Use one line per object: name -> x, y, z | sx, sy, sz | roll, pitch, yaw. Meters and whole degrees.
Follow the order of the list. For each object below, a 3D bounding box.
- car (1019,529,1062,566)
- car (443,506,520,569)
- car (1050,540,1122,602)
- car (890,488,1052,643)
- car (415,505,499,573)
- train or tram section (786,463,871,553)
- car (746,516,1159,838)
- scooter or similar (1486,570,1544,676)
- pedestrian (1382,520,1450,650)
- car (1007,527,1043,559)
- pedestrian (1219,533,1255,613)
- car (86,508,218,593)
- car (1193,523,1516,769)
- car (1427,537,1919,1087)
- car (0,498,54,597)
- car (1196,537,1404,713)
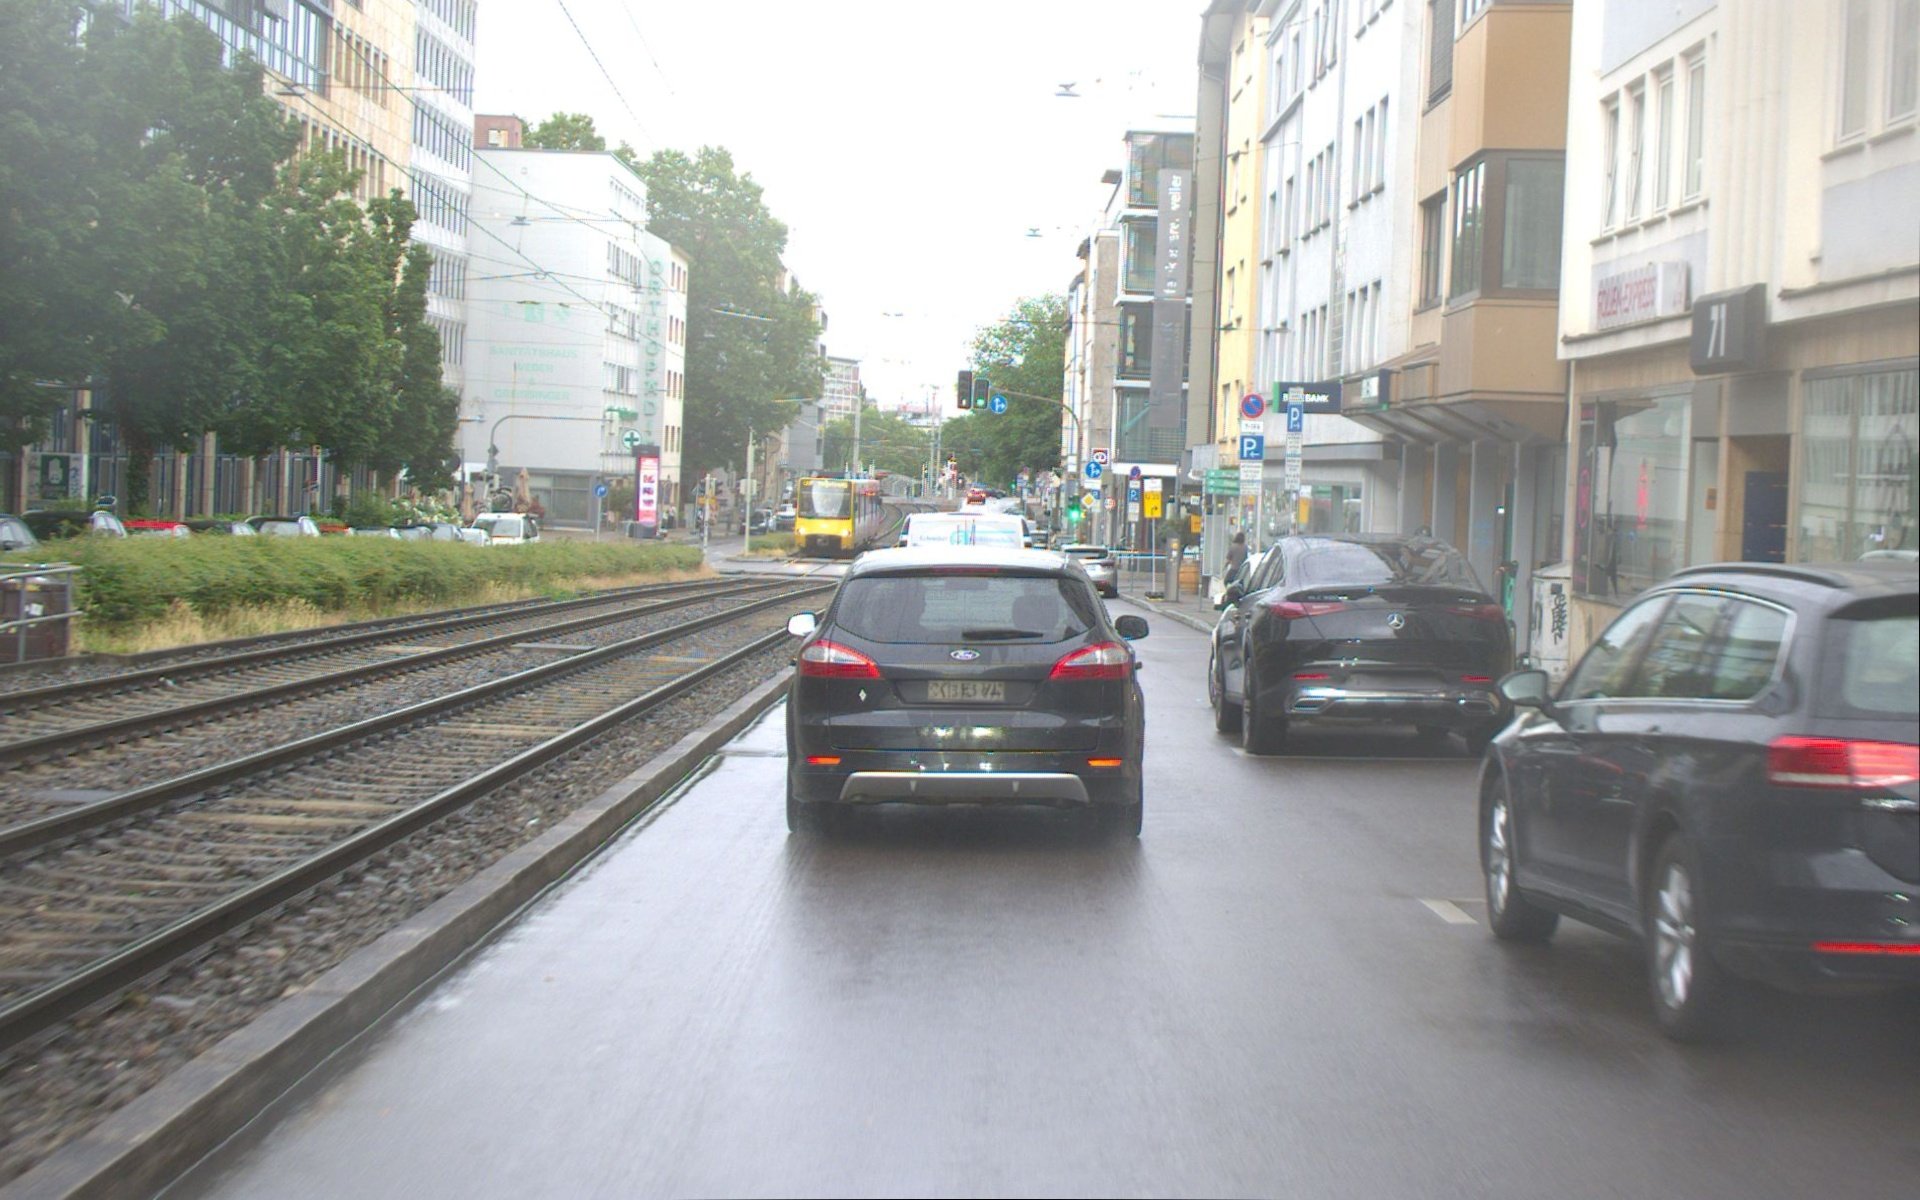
car -> 3.749, -2.428, 159.735 | 1.906, 1.628, 4.573 | 2, 0, 1
car -> -14.915, -1.928, 107.292 | 1.906, 1.858, 4.574 | 2, 0, -3
car -> 3.565, -0.813, 97.862 | 1.906, 1.628, 4.573 | 2, 0, 1
car -> 0.197, -0.436, 44.940 | 1.906, 1.858, 4.573 | 2, 0, 2
car -> -14.665, -1.760, 100.456 | 1.906, 1.858, 4.574 | 2, 0, -3
train or tram section -> -5.891, -4.066, 153.786 | 3.512, 3.764, 11.333 | 2, 1, -2
car -> -0.014, 0.359, 18.086 | 1.906, 1.457, 3.445 | 2, 0, 1
scooter or similar -> 5.839, 0.233, 36.190 | 0.209, 1.079, 1.234 | 2, 1, -8
pedestrian -> 5.924, -0.198, 44.729 | 0.695, 1.646, 0.966 | 2, 1, 0
car -> 3.611, -3.180, 191.452 | 1.906, 1.628, 4.573 | 2, 0, 1
pedestrian -> 5.447, -0.534, 67.600 | 0.611, 1.532, 0.649 | 2, 1, 0
car -> -14.630, -0.907, 62.435 | 1.568, 1.431, 4.178 | 2, 1, -3
car -> 2.883, 0.280, 26.167 | 1.807, 1.626, 5.169 | 2, 1, 0
car -> 2.872, 0.555, 11.562 | 1.774, 1.463, 4.610 | 2, 1, -2
car -> -14.710, -0.804, 51.050 | 1.568, 1.431, 4.178 | 2, 1, -3
car -> 3.064, 0.188, 31.534 | 1.557, 1.471, 3.565 | 2, 1, 1
